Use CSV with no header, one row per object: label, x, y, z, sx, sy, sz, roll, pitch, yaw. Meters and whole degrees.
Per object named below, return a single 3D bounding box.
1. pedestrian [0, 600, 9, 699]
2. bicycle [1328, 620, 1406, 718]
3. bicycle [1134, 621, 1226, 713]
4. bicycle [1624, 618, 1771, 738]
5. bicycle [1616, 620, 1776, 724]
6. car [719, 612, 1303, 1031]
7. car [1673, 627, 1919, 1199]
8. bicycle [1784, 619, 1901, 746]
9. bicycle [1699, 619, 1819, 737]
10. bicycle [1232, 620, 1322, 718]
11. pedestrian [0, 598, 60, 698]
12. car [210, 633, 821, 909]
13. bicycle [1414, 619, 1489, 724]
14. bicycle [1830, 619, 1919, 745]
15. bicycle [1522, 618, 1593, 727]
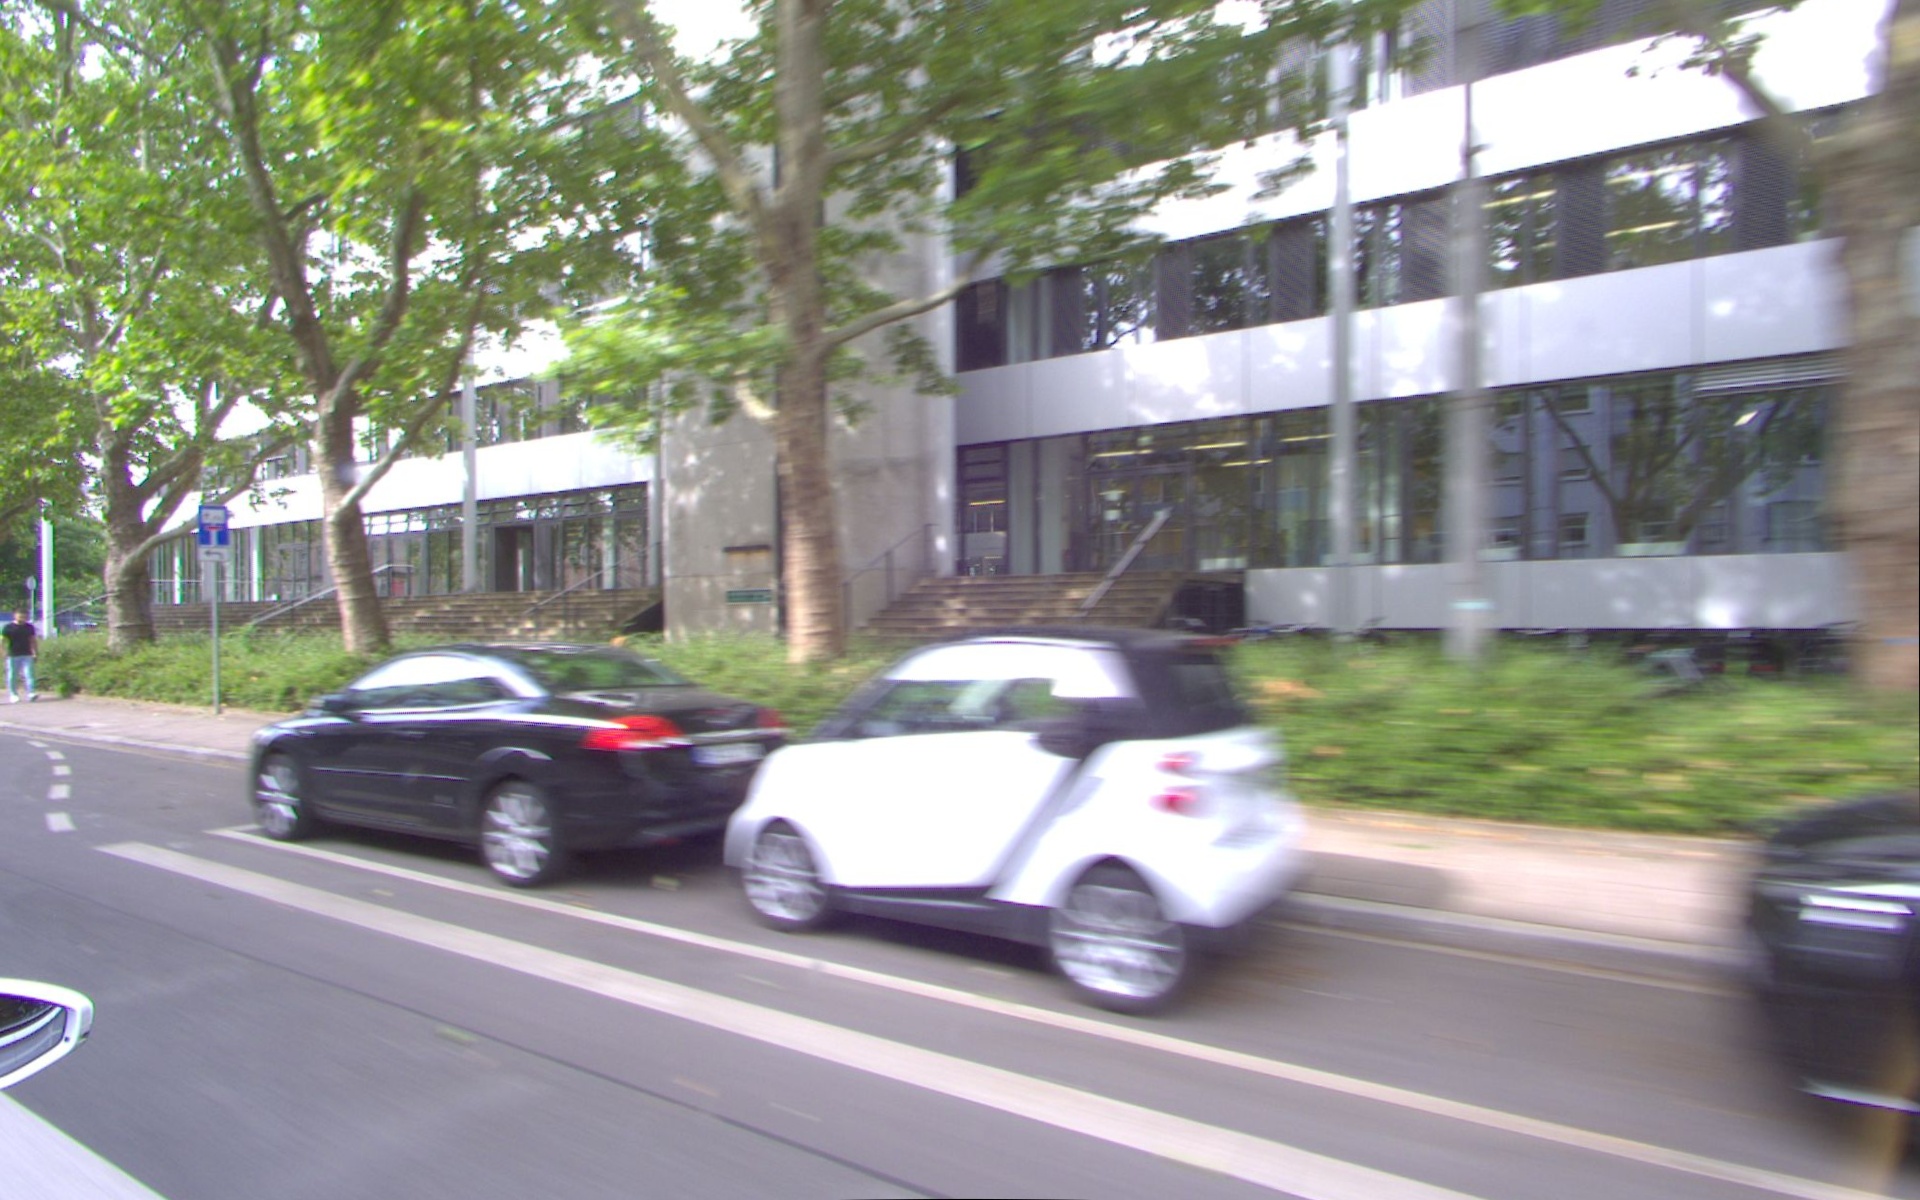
pedestrian,-17.971,0.912,18.179,1.018,1.807,0.709,-1,1,30
bicycle,5.270,0.841,12.900,0.663,1.132,1.911,0,0,31
bicycle,3.051,0.870,13.755,0.663,1.132,1.911,0,0,31
bicycle,7.747,0.778,10.610,0.611,1.132,1.698,0,0,12
bicycle,8.444,0.802,11.550,1.414,1.132,0.490,0,1,26
car,0.241,0.876,5.115,2.563,1.562,1.532,-1,-2,34
car,4.116,0.848,2.565,3.607,1.521,1.526,-1,-2,32
bicycle,8.697,0.772,9.918,0.461,1.132,1.378,0,0,24
bicycle,8.382,0.781,10.562,0.502,1.132,1.380,0,0,16
bicycle,4.160,0.845,13.045,0.663,1.132,2.075,0,0,31
pedestrian,-17.612,0.881,18.811,1.018,1.824,0.713,-1,1,30
car,-3.263,0.982,7.154,4.354,1.443,1.697,-1,-2,29
bicycle,5.951,0.812,12.074,0.663,1.132,1.911,0,0,31
bicycle,9.188,0.770,9.887,0.461,1.132,1.539,0,0,24
bicycle,6.999,0.801,11.740,0.663,1.132,1.911,0,0,31
